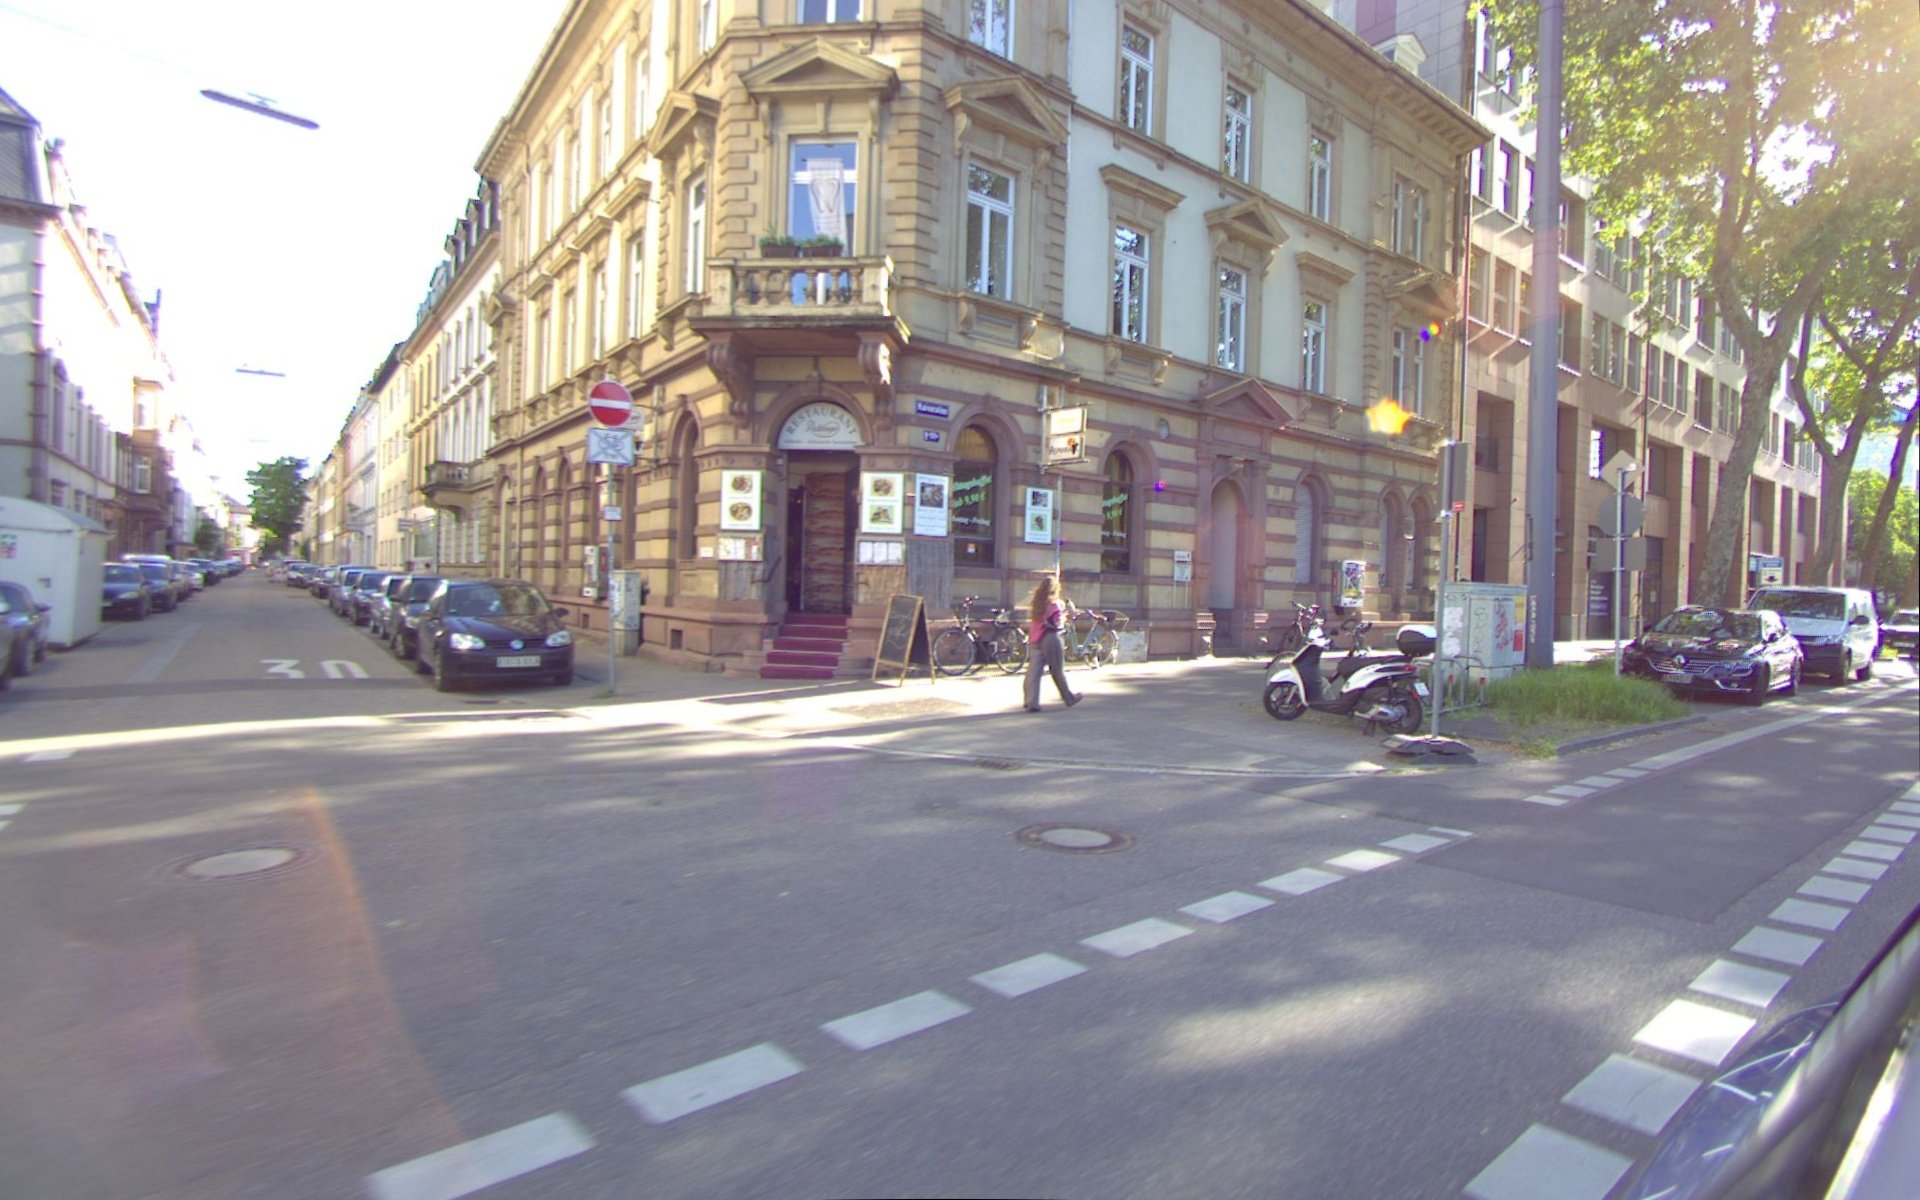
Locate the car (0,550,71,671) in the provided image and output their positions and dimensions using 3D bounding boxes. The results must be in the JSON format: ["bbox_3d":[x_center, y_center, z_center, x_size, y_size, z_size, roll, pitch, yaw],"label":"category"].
[{"bbox_3d":[-14.367,0.074,14.700,1.810,1.616,4.000,1,1,-36],"label":"car"}]

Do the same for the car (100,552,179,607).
[{"bbox_3d":[-25.220,-0.650,31.190,1.680,1.562,3.700,1,1,-36],"label":"car"}]

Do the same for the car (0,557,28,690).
[{"bbox_3d":[-11.382,0.261,10.813,1.635,1.492,3.952,1,1,-36],"label":"car"}]

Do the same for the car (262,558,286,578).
[{"bbox_3d":[-57.419,-2.698,84.732,1.569,1.660,3.353,1,1,-33],"label":"car"}]

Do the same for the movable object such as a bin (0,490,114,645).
[{"bbox_3d":[-17.124,-0.593,18.298,2.497,2.577,3.789,-2,3,-36],"label":"movable object such as a bin"}]

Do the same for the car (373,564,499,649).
[{"bbox_3d":[-10.025,0.051,19.209,1.668,1.422,4.002,1,1,-34],"label":"car"}]

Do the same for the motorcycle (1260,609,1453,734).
[{"bbox_3d":[4.319,0.736,11.158,0.507,1.246,1.951,1,0,-43],"label":"motorcycle"}]

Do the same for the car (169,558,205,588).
[{"bbox_3d":[-40.395,-1.374,52.912,1.415,1.460,2.999,1,-1,-36],"label":"car"}]

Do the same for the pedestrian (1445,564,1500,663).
[{"bbox_3d":[9.875,0.258,19.491,0.879,1.850,0.644,0,-1,-39],"label":"pedestrian"}]

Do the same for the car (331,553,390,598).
[{"bbox_3d":[-23.029,-0.891,38.827,1.660,1.634,3.984,0,0,-35],"label":"car"}]

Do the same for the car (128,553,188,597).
[{"bbox_3d":[-31.169,-0.968,39.408,1.653,1.616,3.714,1,1,-36],"label":"car"}]

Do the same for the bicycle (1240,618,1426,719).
[{"bbox_3d":[4.506,0.789,12.404,0.447,1.107,2.227,0,0,-38],"label":"bicycle"}]

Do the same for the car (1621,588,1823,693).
[{"bbox_3d":[12.833,0.588,16.936,4.626,1.534,1.821,0,0,-42],"label":"car"}]

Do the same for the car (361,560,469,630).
[{"bbox_3d":[-12.608,-0.108,23.307,1.739,1.460,4.000,0,0,-35],"label":"car"}]

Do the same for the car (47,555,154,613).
[{"bbox_3d":[-22.802,-0.462,26.987,1.869,1.425,4.000,1,1,-36],"label":"car"}]

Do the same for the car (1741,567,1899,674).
[{"bbox_3d":[18.299,0.389,21.460,4.640,2.040,1.859,0,0,-41],"label":"car"}]

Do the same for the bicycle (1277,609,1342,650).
[{"bbox_3d":[7.459,0.611,21.563,1.634,0.783,0.550,0,3,-41],"label":"bicycle"}]

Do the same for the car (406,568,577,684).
[{"bbox_3d":[-6.897,0.284,14.691,1.605,1.429,3.923,1,1,-34],"label":"car"}]

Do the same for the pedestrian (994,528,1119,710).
[{"bbox_3d":[1.142,0.216,12.099,1.027,2.039,1.090,0,-1,-39],"label":"pedestrian"}]

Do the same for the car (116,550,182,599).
[{"bbox_3d":[-28.744,-0.918,35.960,1.653,1.616,3.714,1,1,-36],"label":"car"}]

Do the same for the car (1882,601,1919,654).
[{"bbox_3d":[30.486,0.834,31.783,4.203,1.590,1.672,0,0,-39],"label":"car"}]

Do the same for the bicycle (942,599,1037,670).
[{"bbox_3d":[0.477,0.507,15.596,1.700,1.033,0.280,0,2,-41],"label":"bicycle"}]

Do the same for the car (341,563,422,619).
[{"bbox_3d":[-16.374,-0.267,28.565,1.672,1.486,3.777,0,1,-35],"label":"car"}]

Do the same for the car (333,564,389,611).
[{"bbox_3d":[-19.254,-0.438,32.480,1.484,1.408,3.464,0,2,-32],"label":"car"}]

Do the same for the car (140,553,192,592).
[{"bbox_3d":[-34.732,-1.206,44.352,1.653,1.616,3.714,1,1,-36],"label":"car"}]

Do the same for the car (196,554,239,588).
[{"bbox_3d":[-43.858,-1.734,59.738,1.963,1.905,3.998,1,1,-37],"label":"car"}]

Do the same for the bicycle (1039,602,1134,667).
[{"bbox_3d":[2.095,0.539,16.585,1.849,1.010,0.415,0,1,-41],"label":"bicycle"}]
